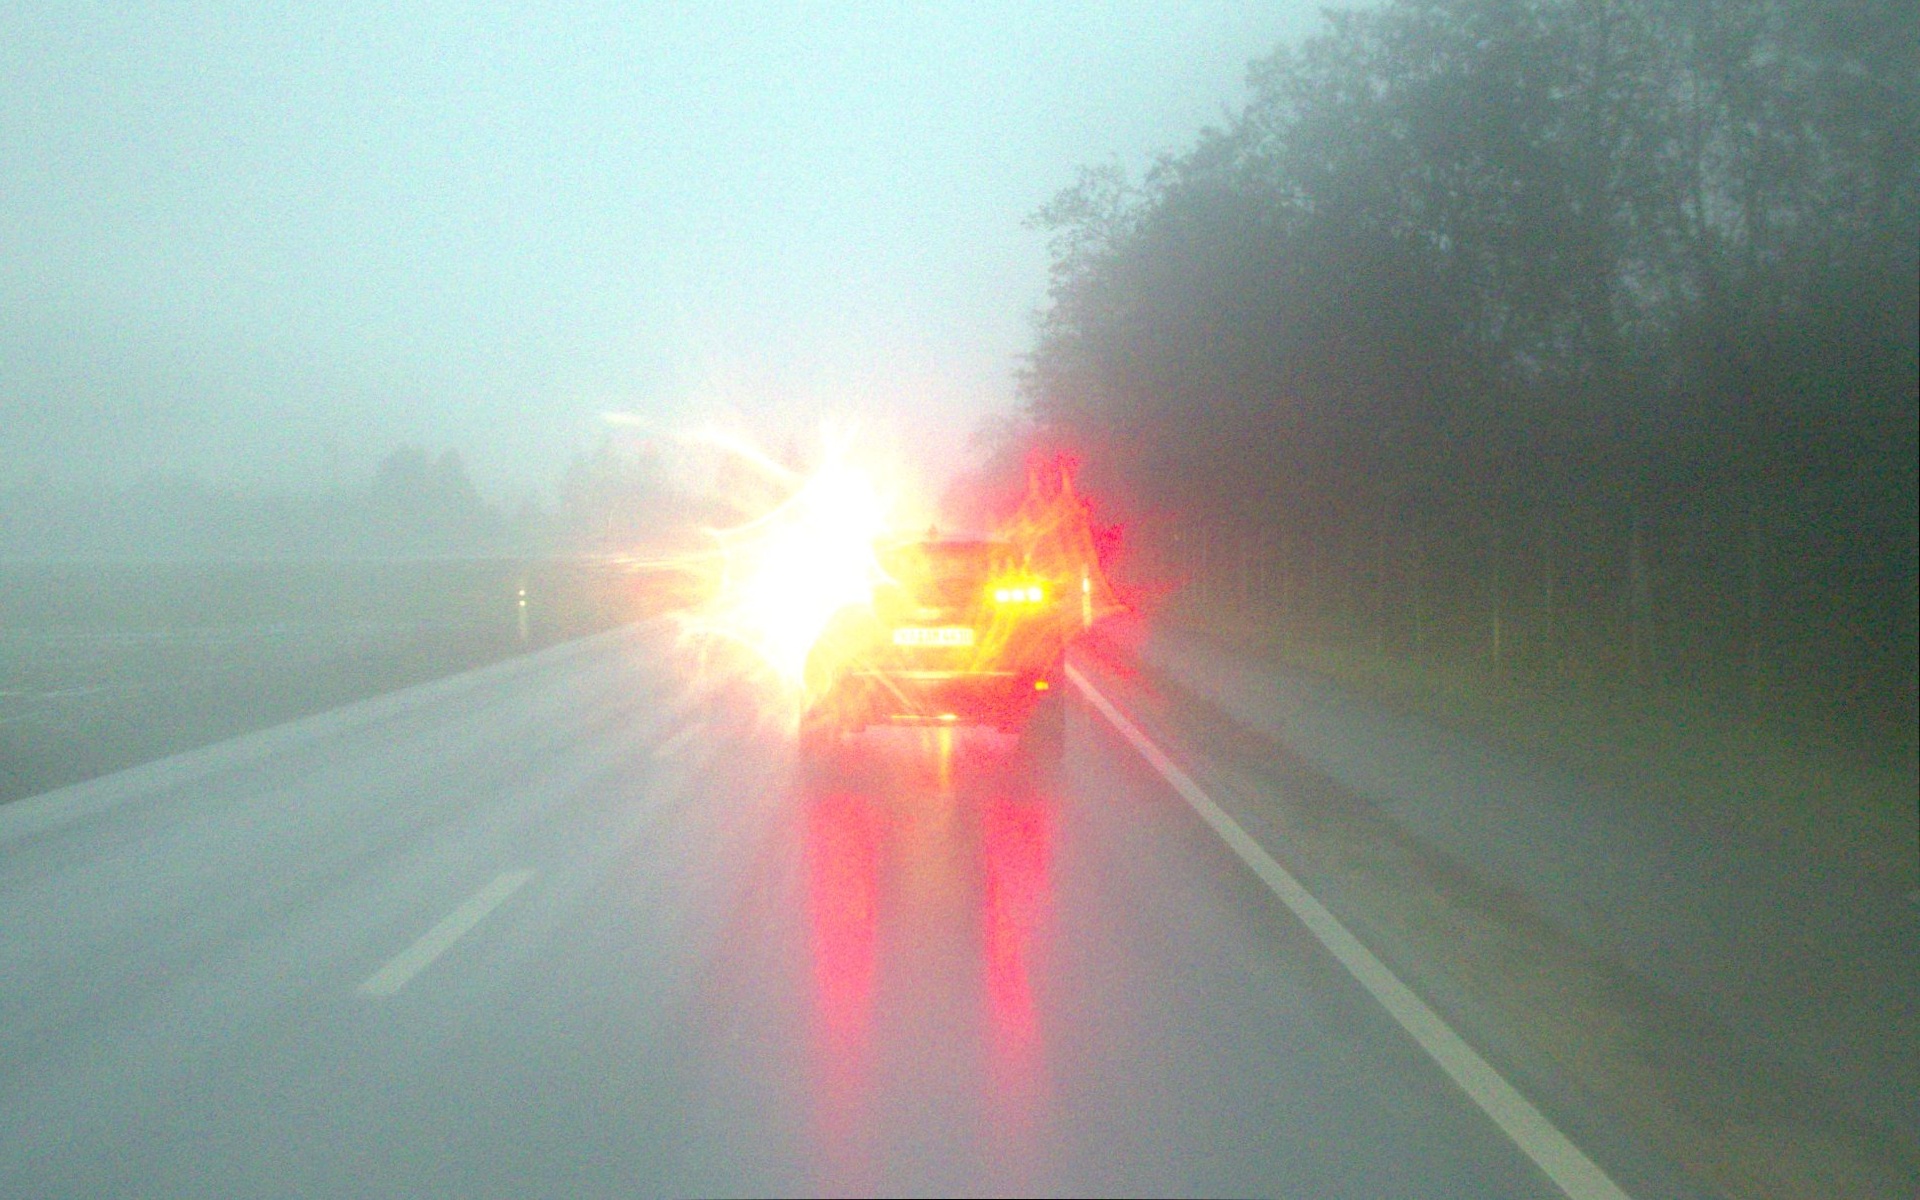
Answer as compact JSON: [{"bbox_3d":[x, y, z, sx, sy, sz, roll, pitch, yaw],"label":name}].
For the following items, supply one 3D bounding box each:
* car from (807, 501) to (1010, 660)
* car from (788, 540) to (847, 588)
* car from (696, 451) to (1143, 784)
[{"bbox_3d":[-0.654,-0.292,47.522,2.592,2.007,5.804,1,1,0],"label":"car"},{"bbox_3d":[-4.515,-1.166,109.452,1.728,1.408,4.023,-3,1,-1],"label":"car"},{"bbox_3d":[-0.245,0.071,24.930,2.820,2.070,5.804,1,1,0],"label":"car"}]
